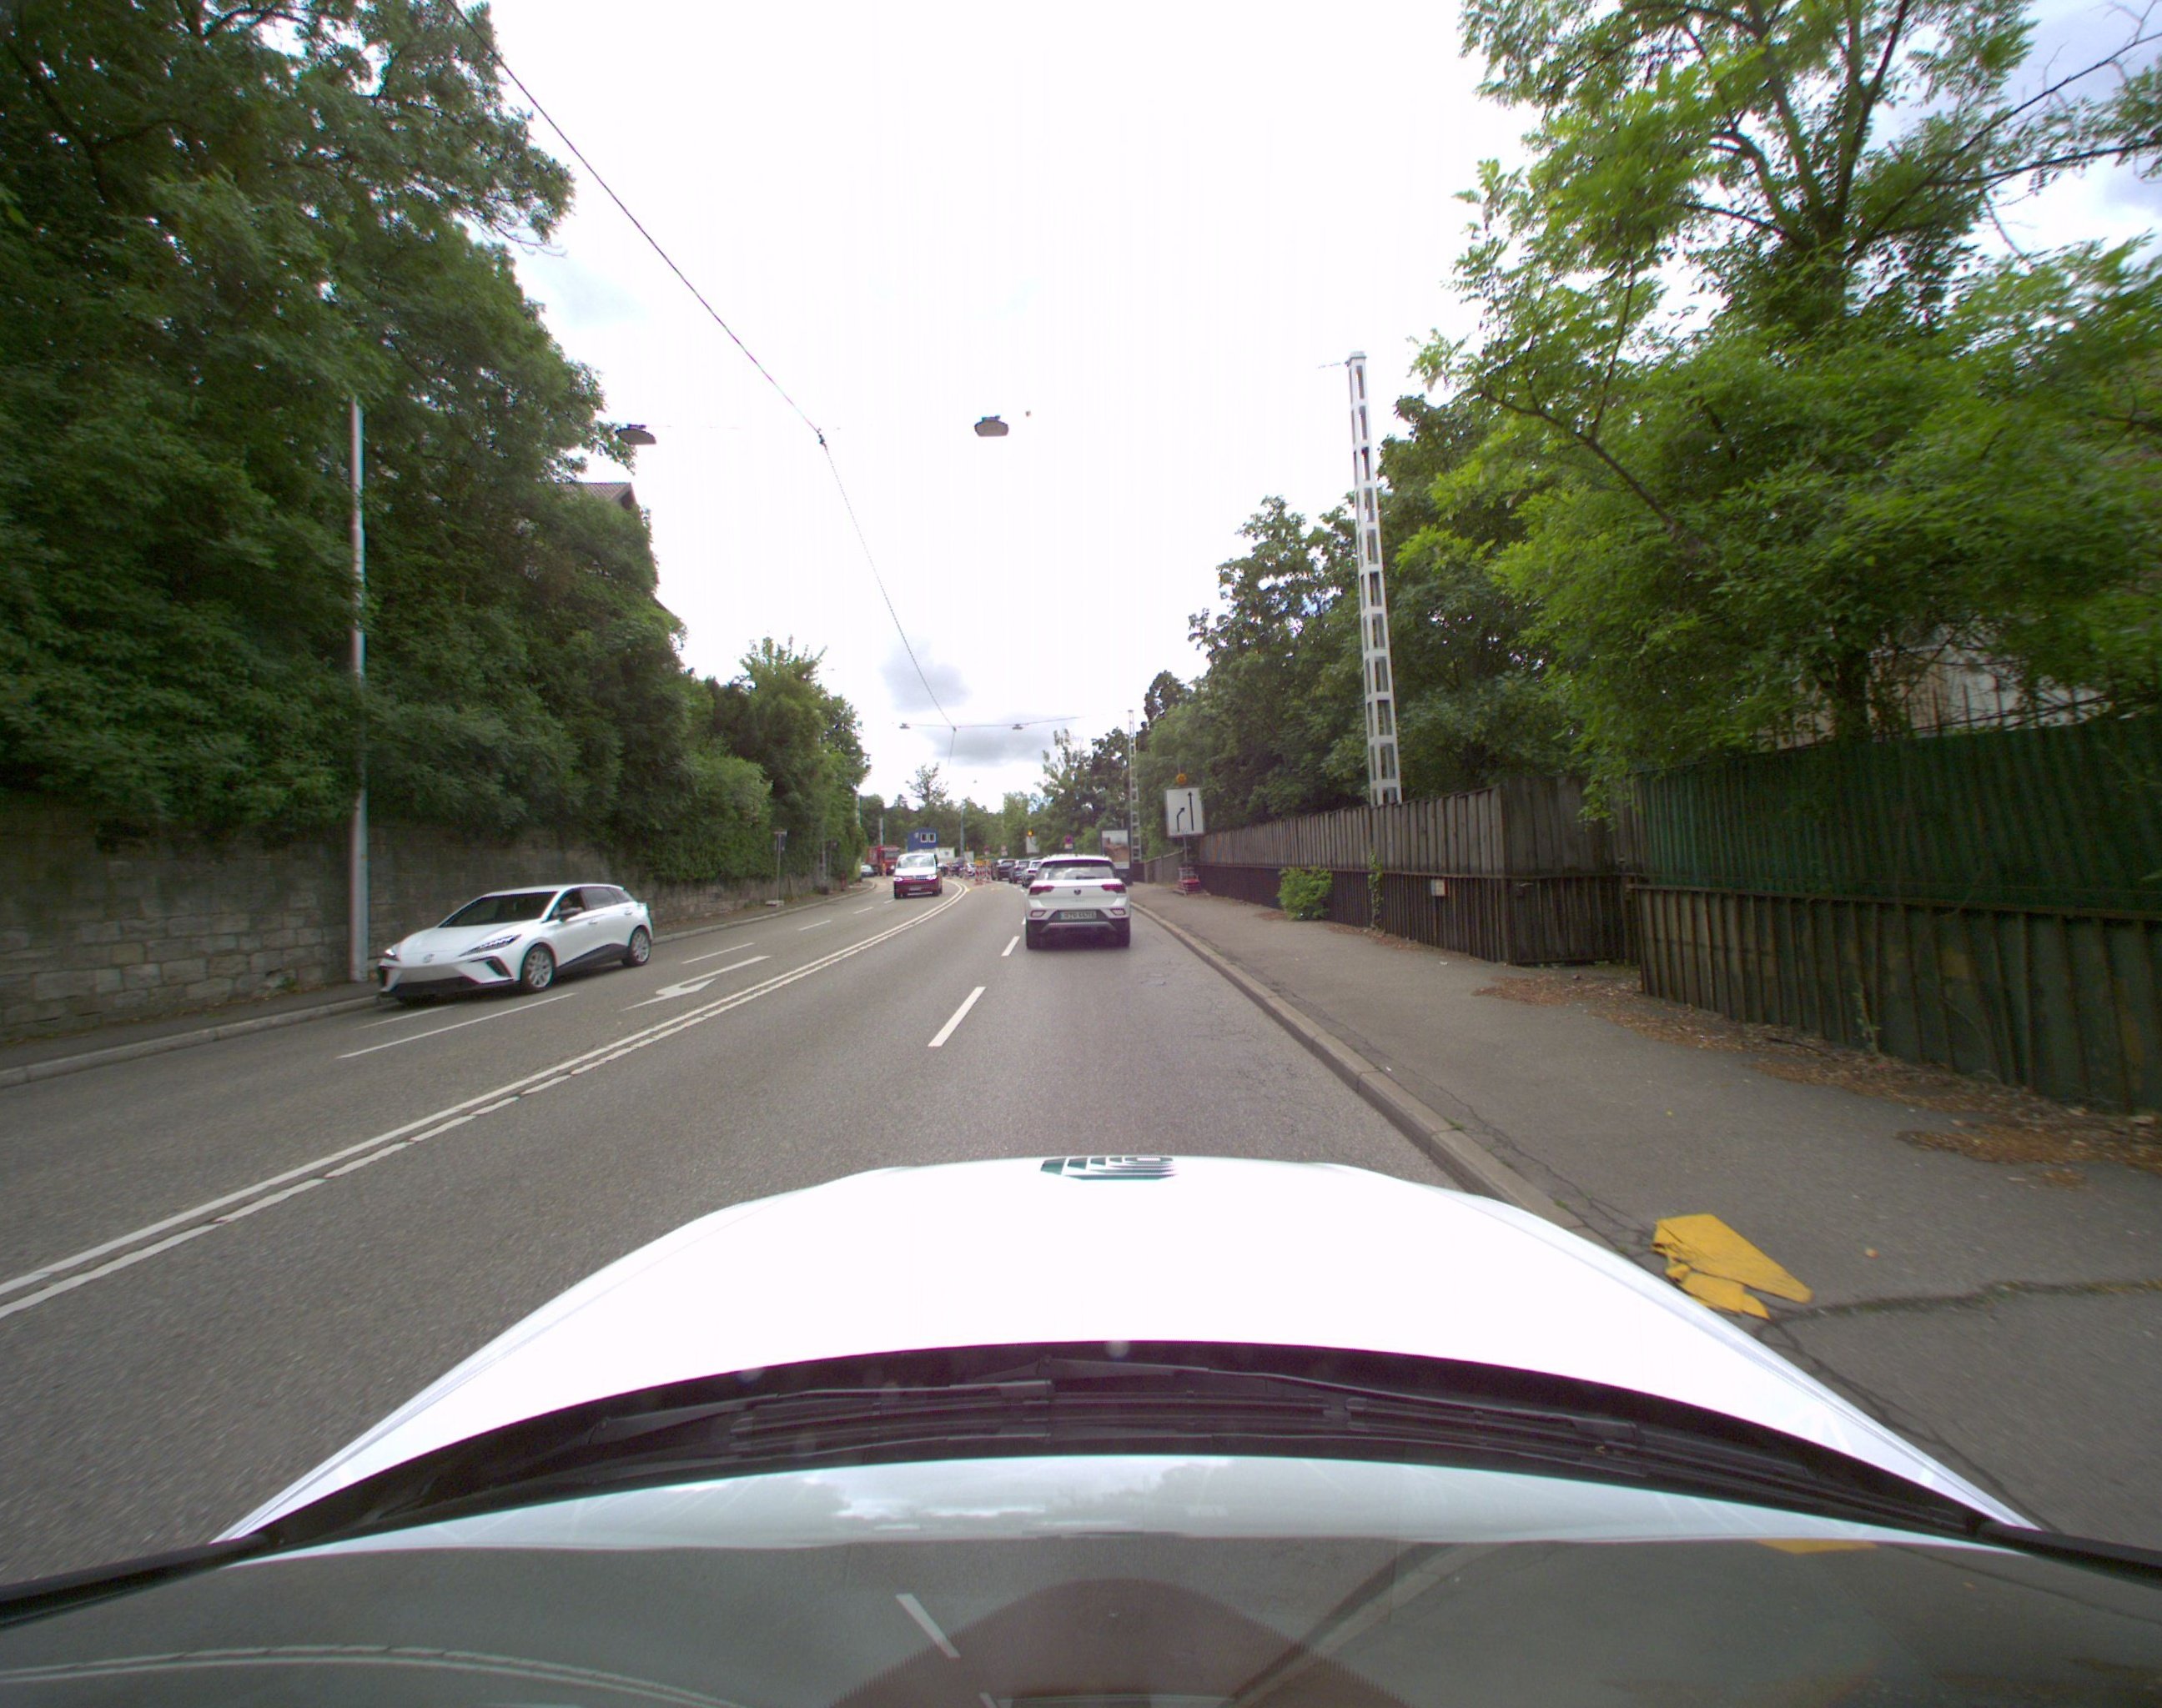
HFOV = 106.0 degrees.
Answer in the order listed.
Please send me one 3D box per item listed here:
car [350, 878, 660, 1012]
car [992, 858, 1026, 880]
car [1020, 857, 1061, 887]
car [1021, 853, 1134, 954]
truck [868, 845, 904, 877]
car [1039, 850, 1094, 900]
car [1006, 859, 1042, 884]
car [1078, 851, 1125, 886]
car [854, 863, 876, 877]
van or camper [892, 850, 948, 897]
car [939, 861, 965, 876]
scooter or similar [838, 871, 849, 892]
[{"bbox_3d":[-8.404,1.219,12.434,1.778,1.466,4.098,-5,0,-2],"label":"car"},{"bbox_3d":[-5.574,1.130,62.406,1.996,1.556,4.132,-2,0,-13],"label":"car"},{"bbox_3d":[-2.187,0.919,42.642,1.757,1.471,3.784,-2,-1,-8],"label":"car"},{"bbox_3d":[-0.093,0.800,14.839,1.753,1.555,3.793,-2,-1,-2],"label":"car"},{"bbox_3d":[-23.650,0.842,98.522,2.956,3.698,9.848,0,-1,-21],"label":"truck"},{"bbox_3d":[-0.569,0.729,29.082,1.754,1.609,3.790,-2,-1,-4],"label":"car"},{"bbox_3d":[-3.641,1.136,52.988,1.987,1.414,4.149,-4,-1,0],"label":"car"},{"bbox_3d":[0.976,0.702,41.010,1.763,1.522,4.385,-4,0,-5],"label":"car"},{"bbox_3d":[-24.474,1.803,92.118,1.903,1.382,3.970,-3,0,-22],"label":"car"},{"bbox_3d":[-7.179,0.853,36.749,1.887,1.878,4.756,-3,0,-5],"label":"van or camper"},{"bbox_3d":[-13.700,1.583,86.108,2.000,1.450,4.123,-3,-1,-19],"label":"car"},{"bbox_3d":[-13.837,1.570,47.495,0.538,1.205,1.273,0,-1,-14],"label":"scooter or similar"}]
